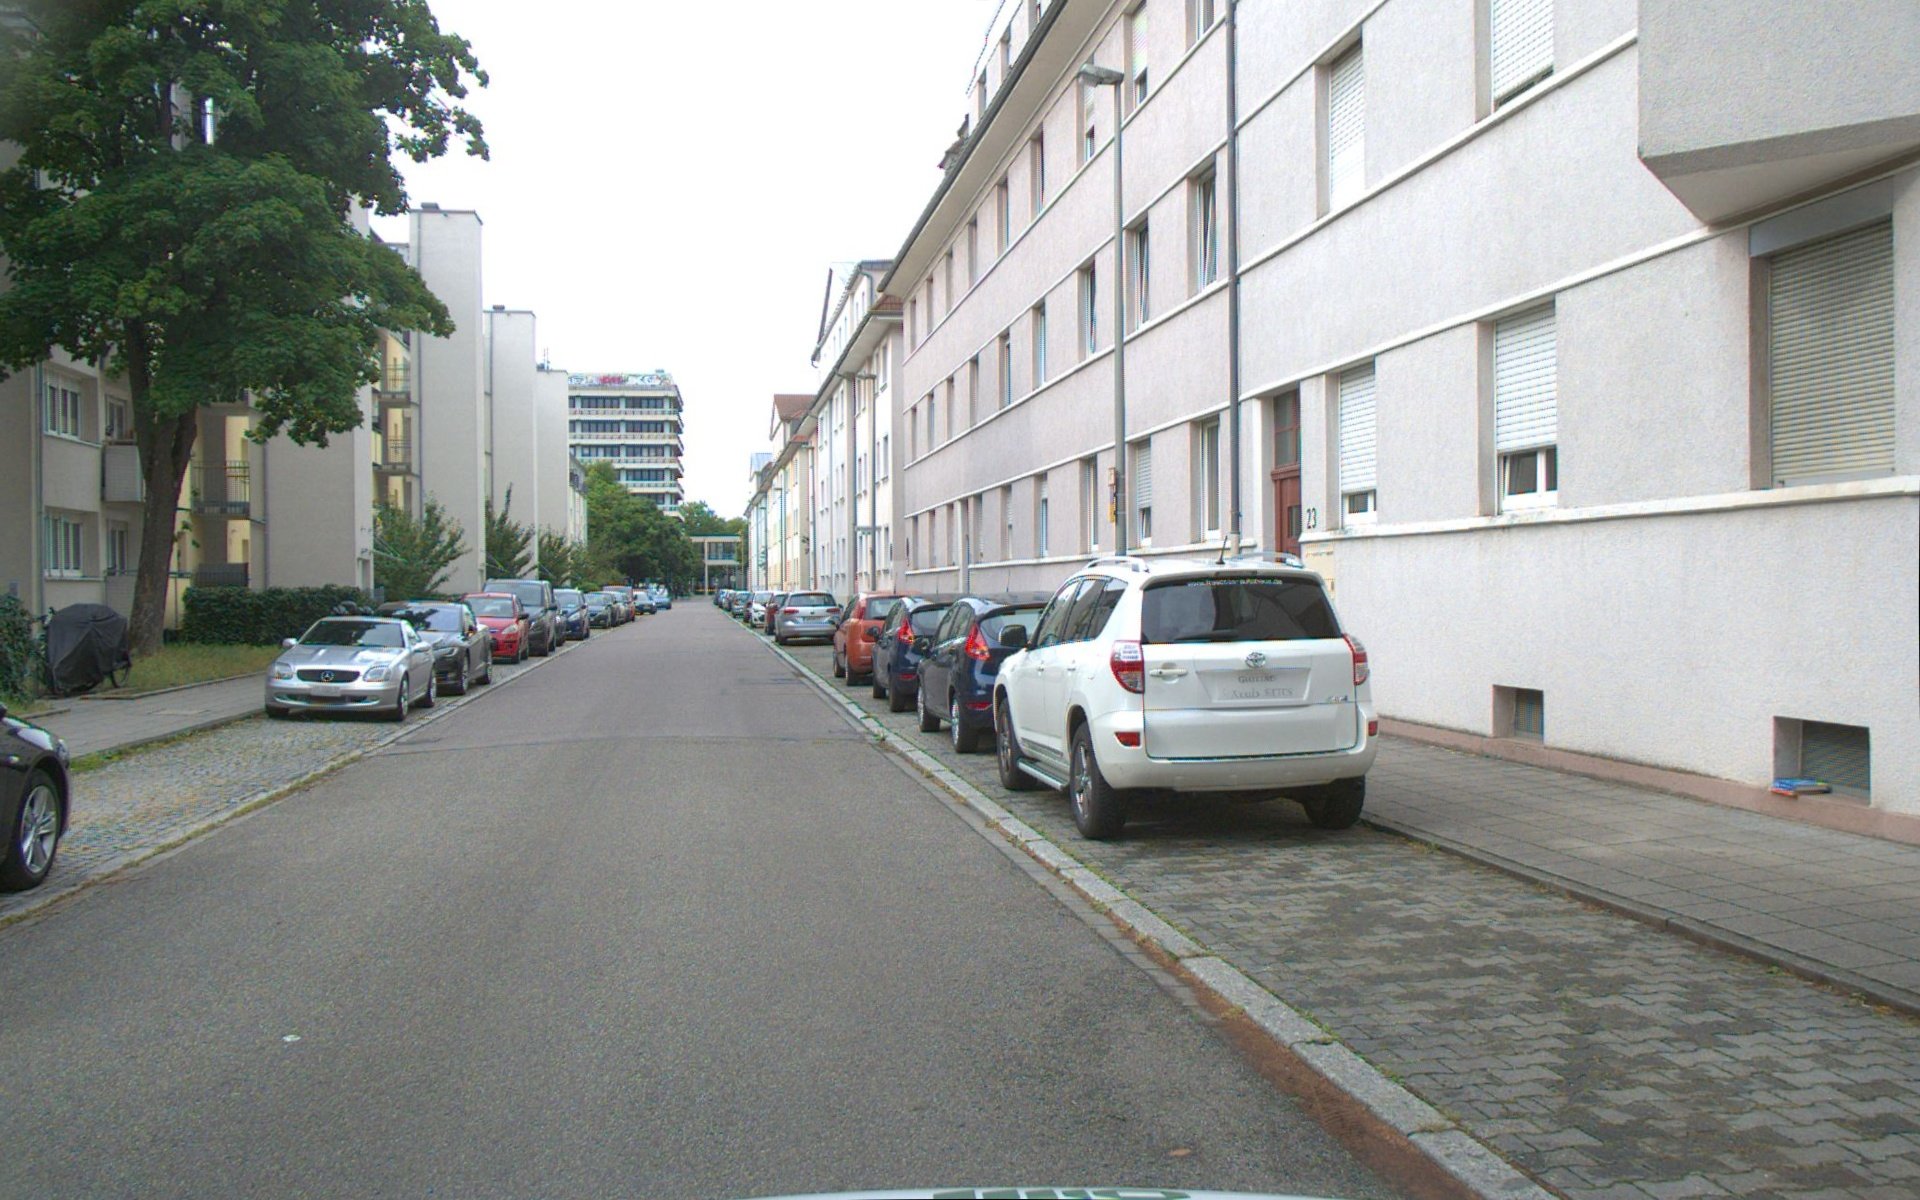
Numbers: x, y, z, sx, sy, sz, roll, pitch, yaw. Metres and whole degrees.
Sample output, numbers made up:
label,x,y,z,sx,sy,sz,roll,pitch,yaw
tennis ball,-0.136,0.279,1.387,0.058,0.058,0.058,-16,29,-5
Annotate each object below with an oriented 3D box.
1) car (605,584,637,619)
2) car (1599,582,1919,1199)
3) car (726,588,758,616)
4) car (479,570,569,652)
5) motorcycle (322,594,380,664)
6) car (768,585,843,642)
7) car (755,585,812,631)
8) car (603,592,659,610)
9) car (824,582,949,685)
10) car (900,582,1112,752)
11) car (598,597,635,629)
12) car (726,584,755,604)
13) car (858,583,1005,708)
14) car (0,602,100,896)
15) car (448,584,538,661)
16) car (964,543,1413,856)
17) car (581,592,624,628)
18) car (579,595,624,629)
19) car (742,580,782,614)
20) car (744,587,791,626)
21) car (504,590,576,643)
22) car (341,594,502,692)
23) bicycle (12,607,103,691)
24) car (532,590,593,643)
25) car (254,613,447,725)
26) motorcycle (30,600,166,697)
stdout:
label,x,y,z,sx,sy,sz,roll,pitch,yaw
car,-19.296,0.050,94.236,1.641,1.972,3.734,0,1,-9
car,2.613,0.718,1.174,1.713,1.445,4.938,-2,1,-10
car,-12.731,0.085,96.456,1.786,1.604,3.876,0,1,-9
car,-11.169,0.251,42.635,1.845,1.937,5.017,2,0,-11
motorcycle,-12.612,0.578,34.321,0.665,1.379,2.224,2,0,-9
car,-4.377,0.333,46.274,1.723,1.493,4.589,0,1,-10
car,-6.078,0.251,56.619,1.640,1.444,3.991,-2,1,-10
car,-23.157,0.051,116.271,3.655,1.235,1.543,0,1,25
car,-1.294,0.498,27.694,1.665,1.552,3.818,-2,1,-9
car,0.355,0.584,16.929,1.538,1.504,3.864,-1,1,-8
car,-17.454,0.634,84.171,1.641,1.552,4.244,0,1,-9
car,-16.410,-0.482,123.514,1.957,1.422,3.991,2,0,-9
car,-0.465,0.542,22.314,1.538,1.499,3.690,-1,1,-8
car,-5.688,0.769,7.257,1.832,1.490,4.826,2,0,-8
car,-10.573,0.471,37.631,1.535,1.596,3.634,2,0,-10
car,1.335,0.526,11.543,1.809,1.703,4.278,-2,1,-11
car,-16.047,0.428,74.357,1.641,1.591,3.656,0,1,-9
car,-15.124,0.472,69.825,1.641,1.375,3.808,0,1,-9
car,-9.597,-0.169,79.926,1.786,1.604,3.744,0,1,-9
car,-7.982,0.248,68.305,1.786,1.531,3.744,0,1,-9
car,-12.515,0.452,49.475,1.797,1.484,4.249,0,1,-11
car,-8.925,0.657,27.780,1.807,1.446,4.620,1,0,-9
bicycle,-12.843,0.675,23.586,0.541,1.120,1.771,0,0,-8
car,-13.201,0.513,55.135,1.737,1.671,4.344,0,1,-11
car,-8.162,0.875,22.492,1.665,1.280,4.007,1,0,-9
motorcycle,-12.132,0.645,23.401,0.668,1.245,3.061,1,0,-7
